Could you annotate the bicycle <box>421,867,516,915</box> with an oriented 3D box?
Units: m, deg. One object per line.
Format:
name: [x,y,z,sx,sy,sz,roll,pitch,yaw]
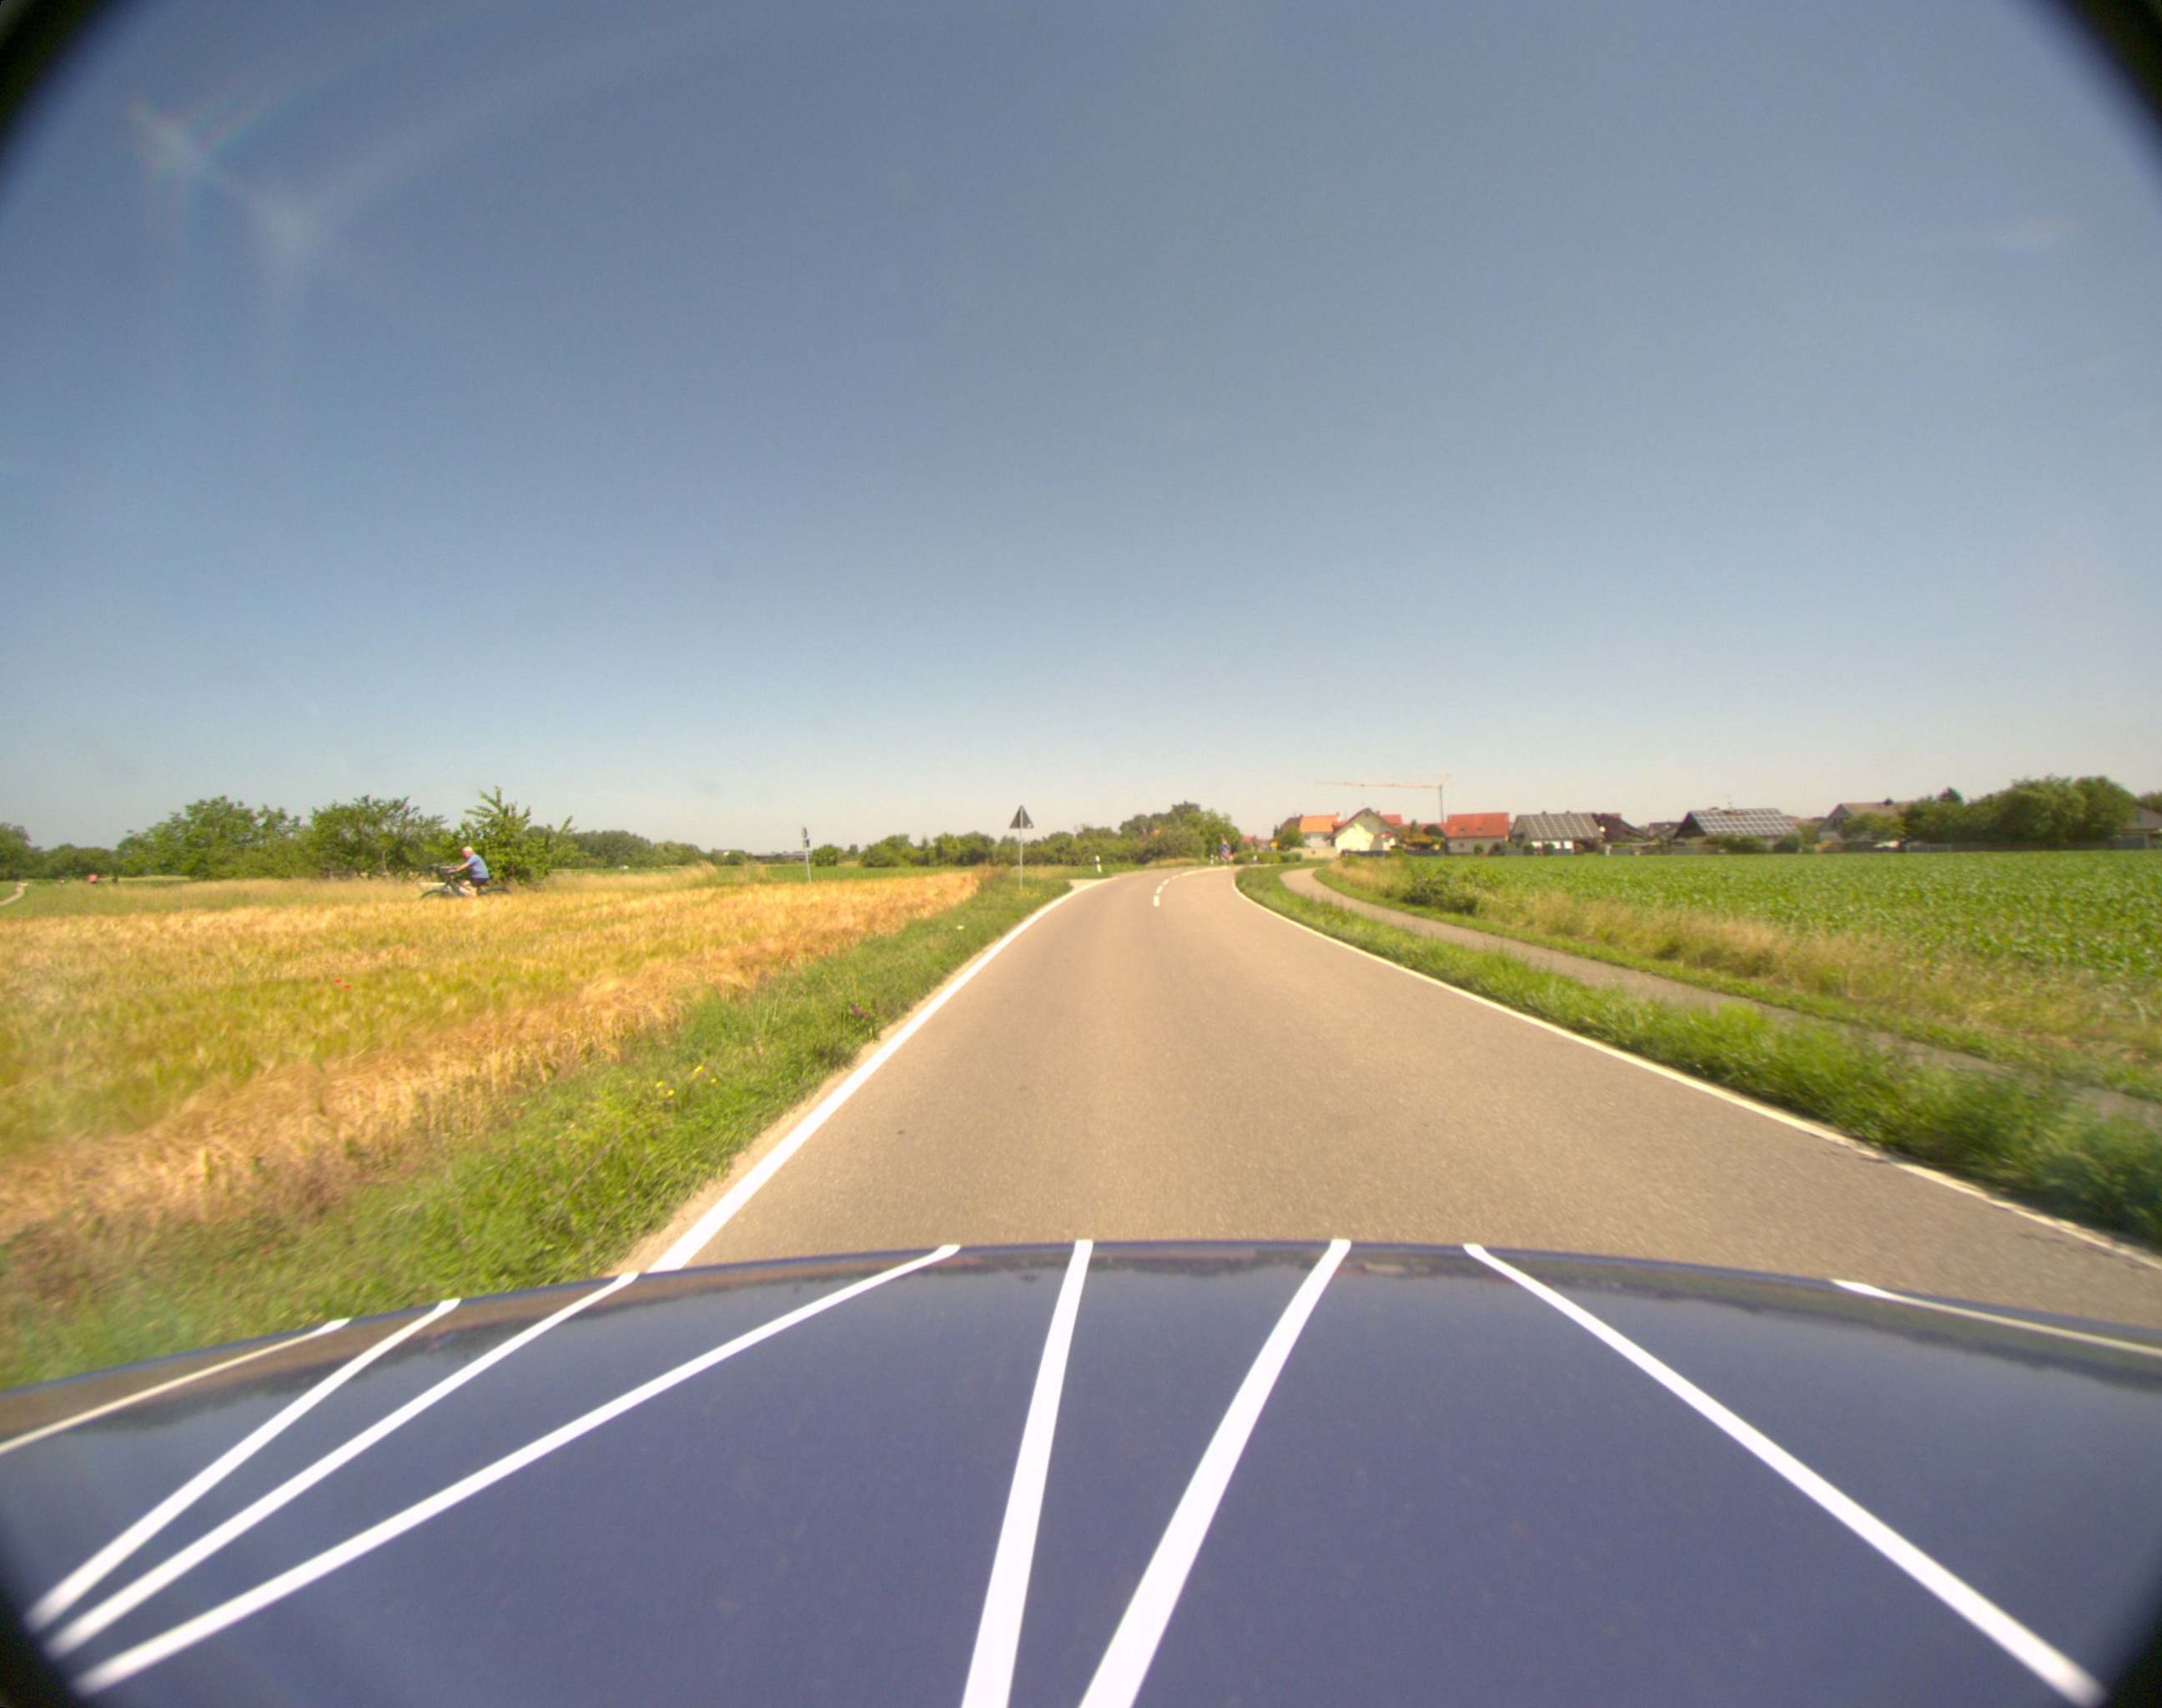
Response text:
bicycle: [-15.331,0.896,19.047,0.520,1.109,1.773,0,1,44]

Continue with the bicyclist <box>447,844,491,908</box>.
bicyclist: [-15.336,0.536,19.041,0.673,1.565,0.737,0,1,44]
